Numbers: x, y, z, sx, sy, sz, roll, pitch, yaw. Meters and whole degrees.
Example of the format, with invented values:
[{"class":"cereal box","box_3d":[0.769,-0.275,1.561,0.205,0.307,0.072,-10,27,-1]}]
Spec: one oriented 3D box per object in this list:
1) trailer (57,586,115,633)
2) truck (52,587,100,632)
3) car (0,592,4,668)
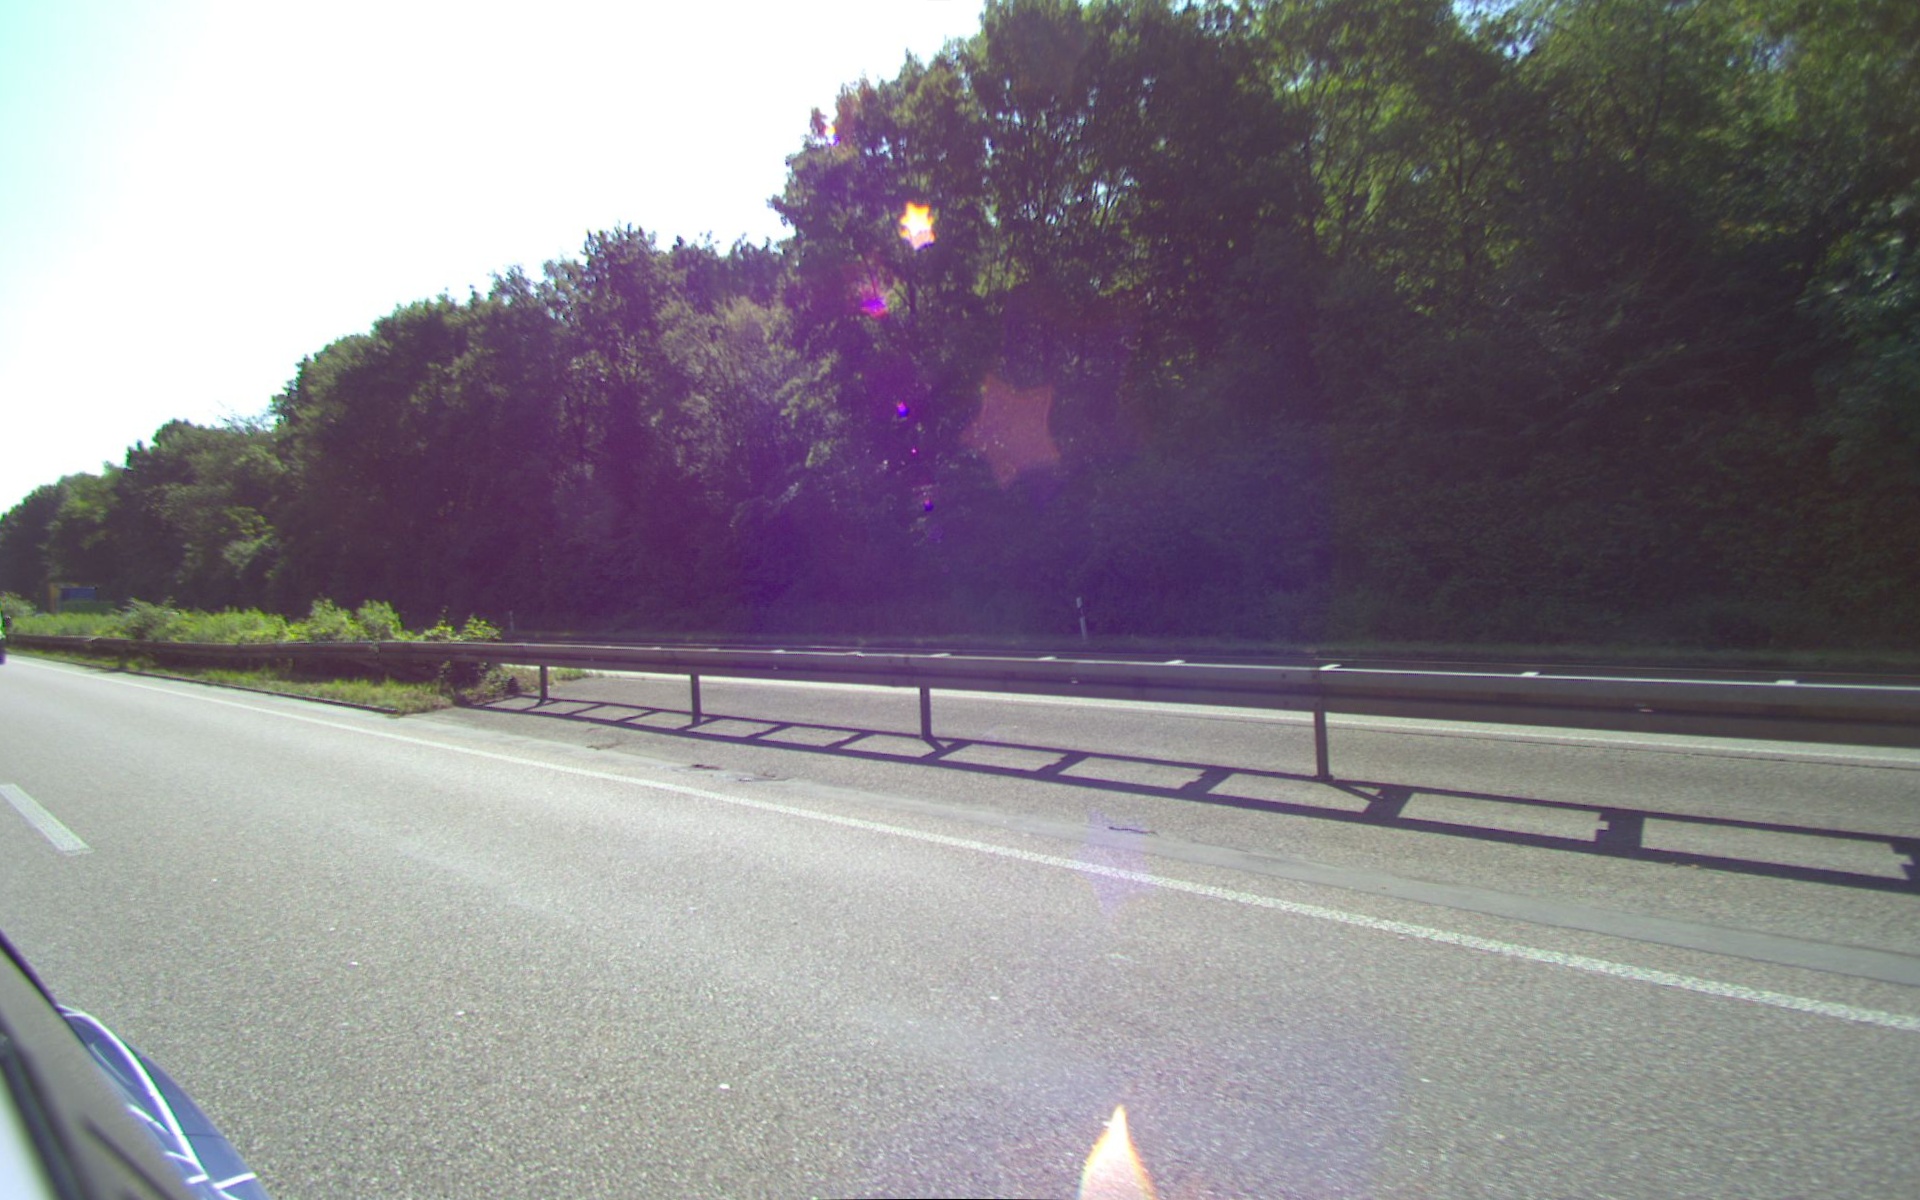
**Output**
[{"class":"trailer","box_3d":[-72.827,0.769,84.287,7.982,3.740,2.660,-1,0,42]},{"class":"truck","box_3d":[-76.326,0.795,87.321,3.998,3.734,2.618,-1,0,41]},{"class":"car","box_3d":[-33.380,1.004,33.548,4.635,2.462,2.020,-1,0,41]}]
